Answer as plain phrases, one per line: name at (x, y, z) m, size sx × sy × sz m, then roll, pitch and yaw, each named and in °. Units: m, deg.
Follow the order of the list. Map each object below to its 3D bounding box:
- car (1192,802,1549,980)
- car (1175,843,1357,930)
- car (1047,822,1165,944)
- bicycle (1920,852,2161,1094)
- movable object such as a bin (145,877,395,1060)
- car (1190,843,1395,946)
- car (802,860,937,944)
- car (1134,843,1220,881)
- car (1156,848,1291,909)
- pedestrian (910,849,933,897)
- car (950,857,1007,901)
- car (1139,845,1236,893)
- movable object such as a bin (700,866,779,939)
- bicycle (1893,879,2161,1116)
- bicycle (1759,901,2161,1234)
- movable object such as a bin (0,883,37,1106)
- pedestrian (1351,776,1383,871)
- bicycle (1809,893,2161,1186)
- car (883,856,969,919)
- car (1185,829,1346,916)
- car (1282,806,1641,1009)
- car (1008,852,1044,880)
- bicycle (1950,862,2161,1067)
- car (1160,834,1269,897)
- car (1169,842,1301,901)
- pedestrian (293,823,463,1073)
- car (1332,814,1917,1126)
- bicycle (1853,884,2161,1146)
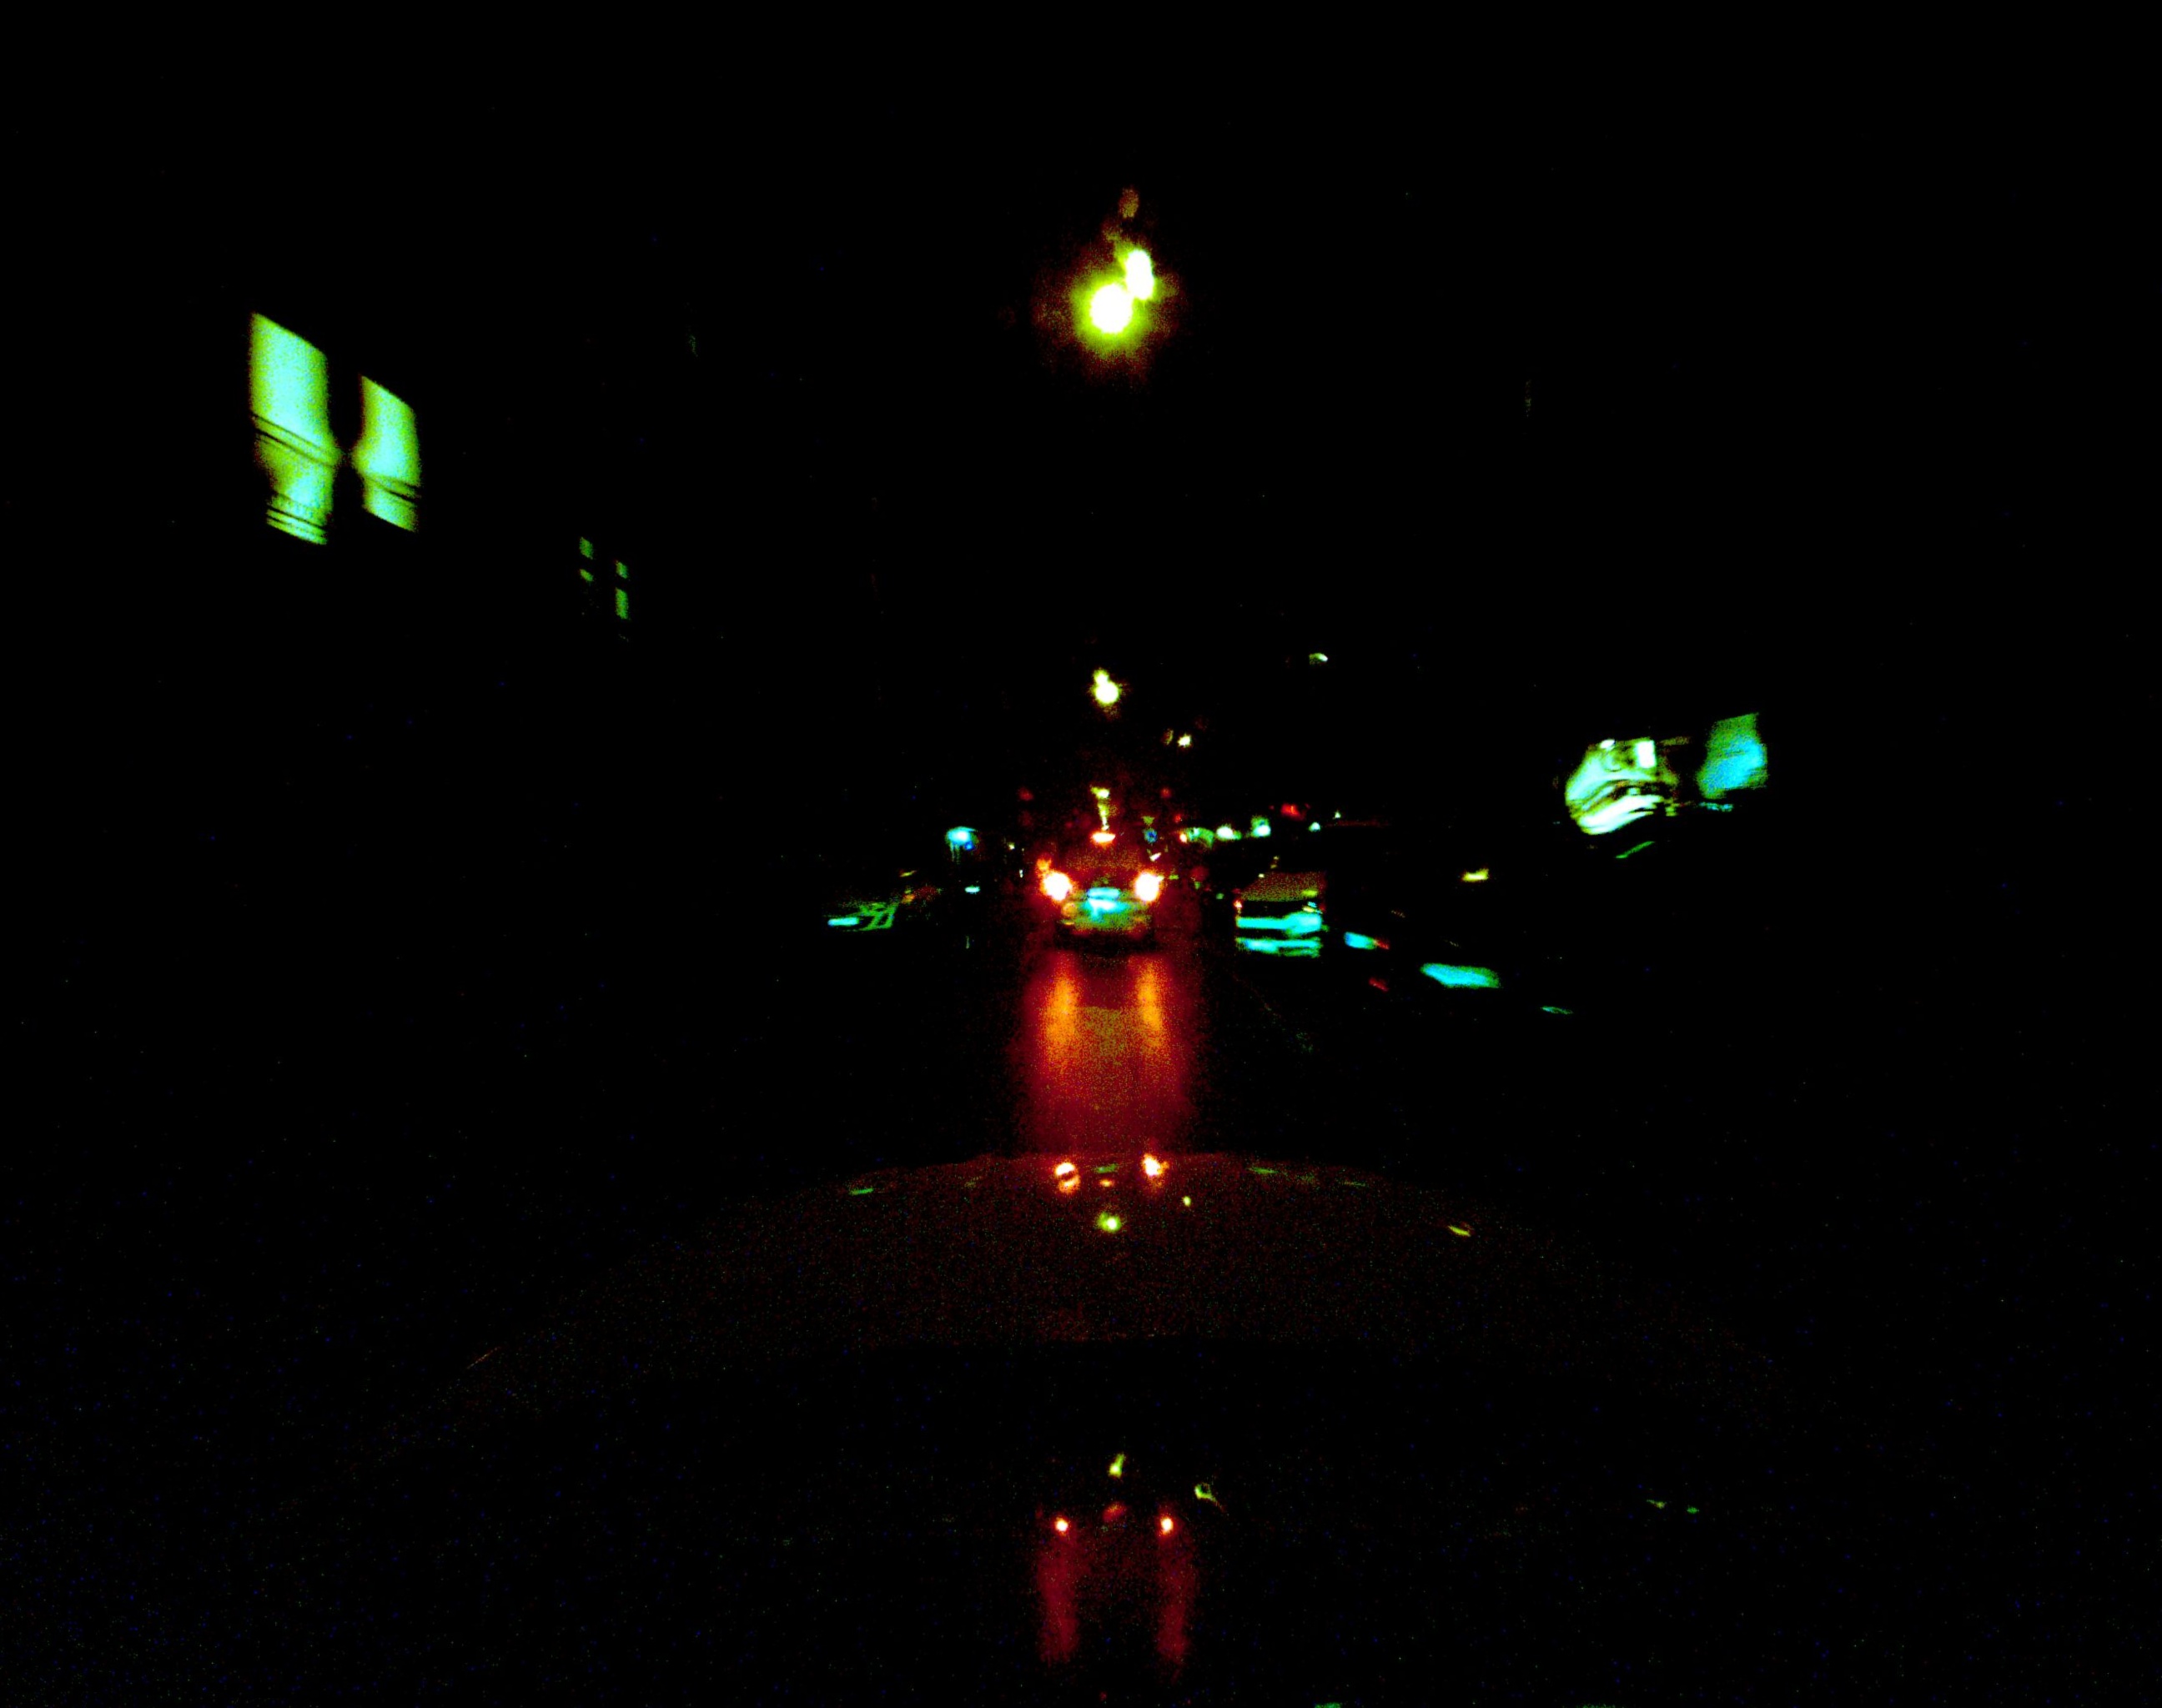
car at (4.144, 0.372, 11.482) m, size 4.814 × 2.049 × 2.047 m, roll -2°, pitch 0°, yaw -29°
car at (3.950, 0.639, 17.219) m, size 3.580 × 1.484 × 1.708 m, roll -4°, pitch 0°, yaw -34°
car at (0.489, 0.521, 16.012) m, size 1.986 × 2.050 × 4.001 m, roll -1°, pitch -1°, yaw 2°
bicycle at (5.619, 0.595, 4.123) m, size 0.448 × 1.191 × 1.810 m, roll -3°, pitch 0°, yaw -29°
movable object such as a bin at (-6.865, 0.911, 6.977) m, size 0.970 × 1.398 × 1.134 m, roll 0°, pitch 0°, yaw 4°
car at (3.837, 0.667, 14.643) m, size 3.526 × 1.494 × 1.436 m, roll -4°, pitch 0°, yaw -30°
car at (-4.194, 0.888, 16.747) m, size 1.581 × 1.482 × 3.796 m, roll -1°, pitch 0°, yaw 3°
car at (4.794, 0.382, 40.523) m, size 4.017 × 1.761 × 1.860 m, roll -1°, pitch 0°, yaw -35°
car at (4.116, 0.679, 23.382) m, size 3.580 × 1.453 × 1.655 m, roll -4°, pitch 0°, yaw -34°
pedestrian at (-5.854, 0.692, 29.947) m, size 0.698 × 1.704 × 0.539 m, roll -1°, pitch 0°, yaw 1°
car at (-3.928, 0.929, 31.914) m, size 1.808 × 1.557 × 4.073 m, roll -1°, pitch 0°, yaw -2°
car at (4.184, 0.565, 31.809) m, size 3.581 × 1.590 × 1.588 m, roll -4°, pitch 0°, yaw -35°
movable object such as a bin at (-6.820, 0.947, 16.325) m, size 1.043 × 1.398 × 1.159 m, roll 0°, pitch 0°, yaw 4°
bicycle at (5.212, 0.669, 3.879) m, size 0.448 × 1.076 × 1.810 m, roll -3°, pitch 0°, yaw -29°
bicycle at (3.807, 0.756, 3.074) m, size 0.521 × 1.076 × 1.810 m, roll -3°, pitch 0°, yaw -29°
movable object such as a bin at (-7.439, 0.903, 4.848) m, size 0.970 × 1.420 × 1.134 m, roll 0°, pitch 0°, yaw 4°
pedestrian at (10.796, -1.124, 30.755) m, size 0.888 × 3.528 × 0.791 m, roll -1°, pitch 0°, yaw 1°
bicycle at (4.291, 0.728, 3.359) m, size 0.521 × 1.076 × 1.810 m, roll -3°, pitch 0°, yaw -29°
car at (-4.136, 0.839, 22.301) m, size 1.651 × 1.557 × 4.073 m, roll -1°, pitch 0°, yaw -2°
car at (4.596, 0.427, 20.130) m, size 3.766 × 1.840 × 1.707 m, roll -4°, pitch 0°, yaw -35°
car at (4.161, 0.459, 8.861) m, size 3.574 × 1.711 × 1.631 m, roll -4°, pitch 0°, yaw -28°
car at (-3.414, 0.713, 51.270) m, size 1.876 × 1.685 × 4.002 m, roll -1°, pitch 0°, yaw 2°
bicycle at (6.028, 0.589, 4.344) m, size 0.448 × 1.076 × 1.810 m, roll -3°, pitch 0°, yaw -29°
car at (4.742, 0.392, 28.771) m, size 3.581 × 1.990 × 1.588 m, roll -4°, pitch -1°, yaw -35°
car at (5.023, 0.543, 26.422) m, size 4.017 × 1.587 × 1.860 m, roll -4°, pitch 0°, yaw -34°
pedestrian at (-5.465, 0.690, 6.380) m, size 0.589 × 1.820 × 0.795 m, roll 1°, pitch 0°, yaw 2°
car at (4.006, 0.590, 5.939) m, size 4.009 × 1.492 × 1.719 m, roll -4°, pitch 0°, yaw -26°
bicycle at (4.771, 0.693, 3.635) m, size 0.521 × 1.076 × 1.810 m, roll -3°, pitch 0°, yaw -29°
